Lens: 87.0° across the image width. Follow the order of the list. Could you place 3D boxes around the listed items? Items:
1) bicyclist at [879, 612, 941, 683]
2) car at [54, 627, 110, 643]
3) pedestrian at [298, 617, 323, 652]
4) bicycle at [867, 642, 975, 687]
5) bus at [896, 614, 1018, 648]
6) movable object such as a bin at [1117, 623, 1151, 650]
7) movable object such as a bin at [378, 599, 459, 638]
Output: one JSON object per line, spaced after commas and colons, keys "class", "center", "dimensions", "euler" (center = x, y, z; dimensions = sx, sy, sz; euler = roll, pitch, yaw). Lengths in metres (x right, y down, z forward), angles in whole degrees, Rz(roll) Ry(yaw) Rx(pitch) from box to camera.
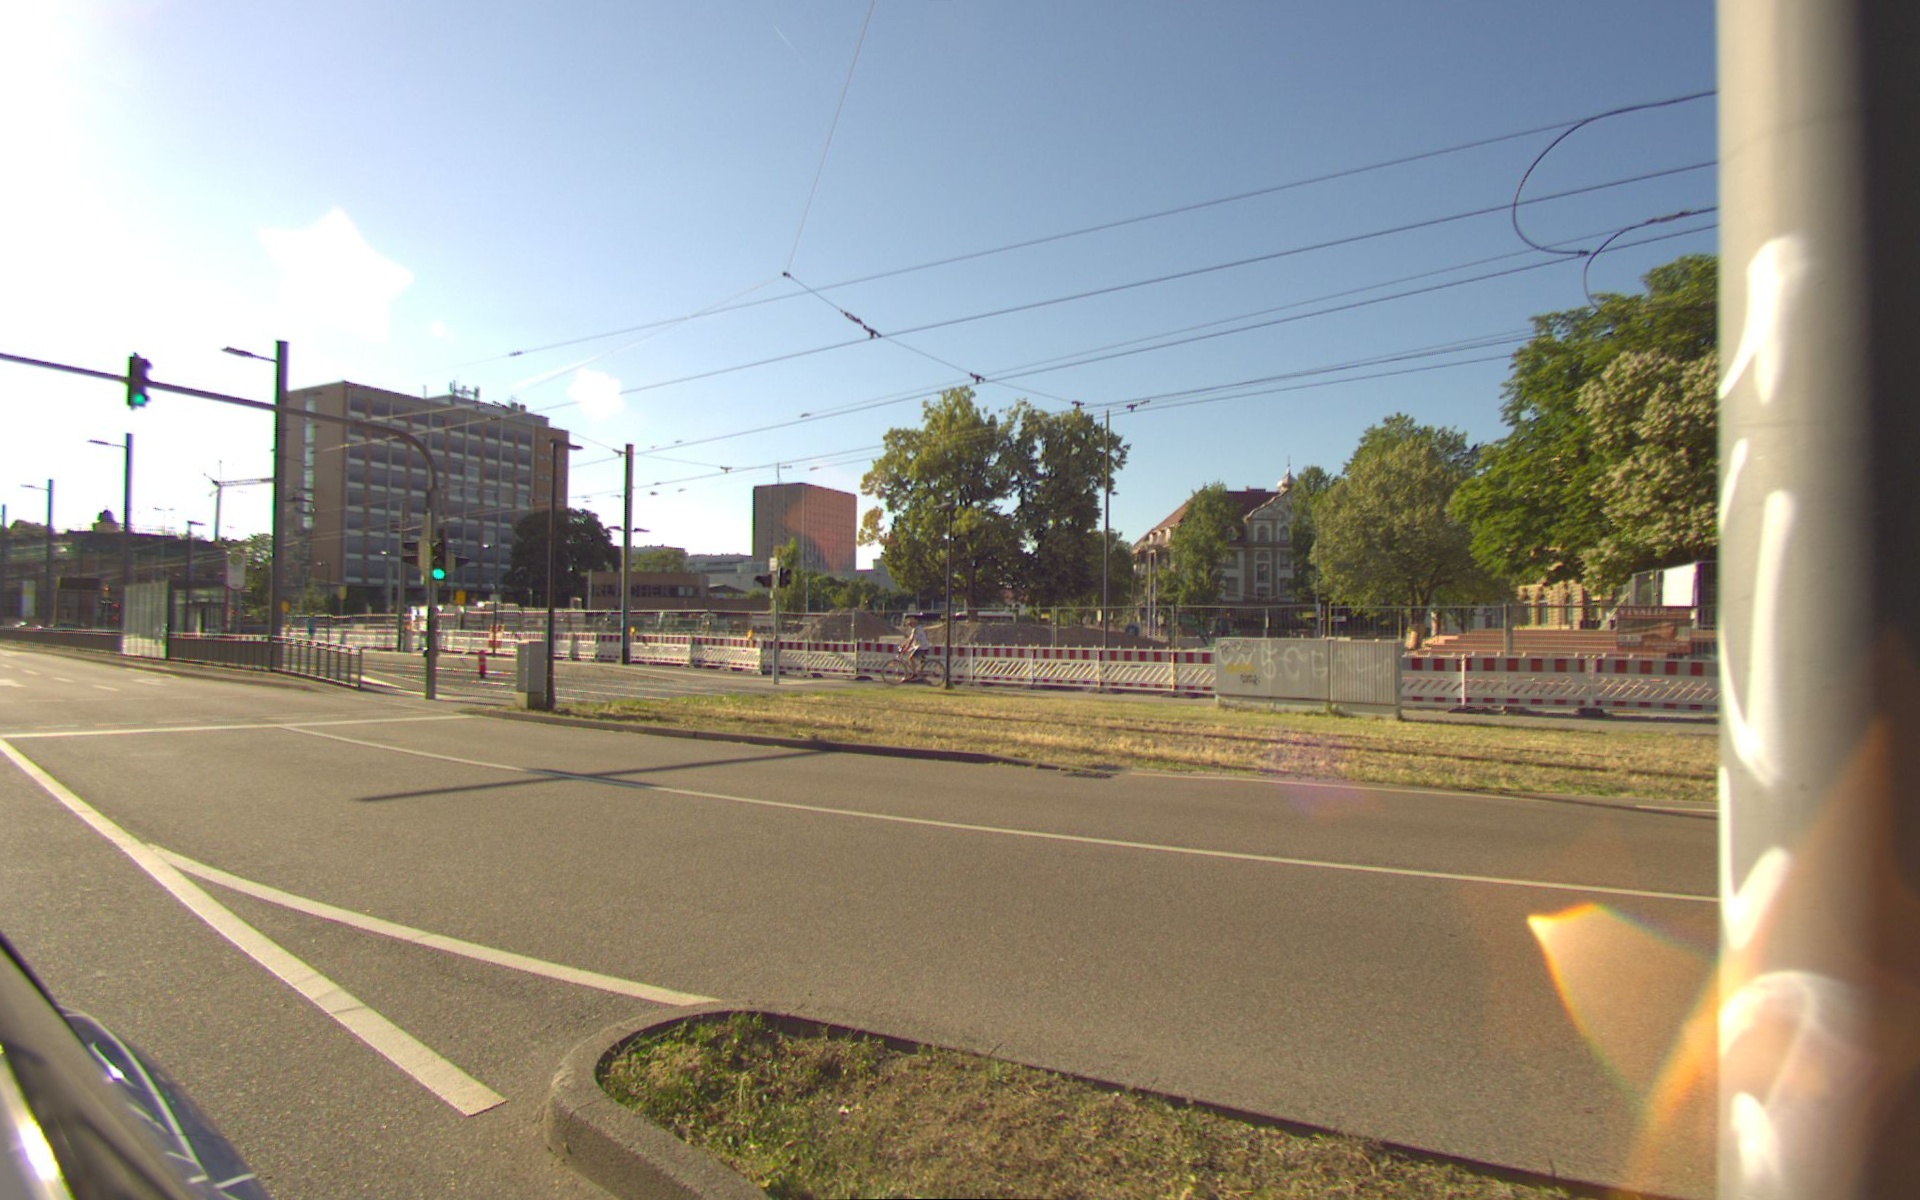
{"class": "bicyclist", "center": [-1.342, 1.274, 27.018], "dimensions": [1.316, 1.823, 0.954], "euler": [-4, -4, 34]}
{"class": "car", "center": [-101.586, 4.036, 117.207], "dimensions": [4.628, 1.697, 2.005], "euler": [2, -5, -34]}
{"class": "pedestrian", "center": [-34.527, 1.841, 53.797], "dimensions": [1.179, 1.782, 0.793], "euler": [-5, -6, 40]}
{"class": "bicycle", "center": [-1.063, 1.710, 26.829], "dimensions": [2.816, 1.105, 0.954], "euler": [-4, -4, 34]}
{"class": "bus", "center": [-0.383, 3.247, 105.773], "dimensions": [12.466, 3.219, 3.255], "euler": [-1, -4, -5]}
{"class": "movable object such as a bin", "center": [14.460, 3.083, 83.999], "dimensions": [1.985, 2.029, 3.972], "euler": [-3, -5, 20]}
{"class": "movable object such as a bin", "center": [-39.788, 1.366, 74.342], "dimensions": [5.136, 2.545, 2.614], "euler": [-3, -5, 23]}
